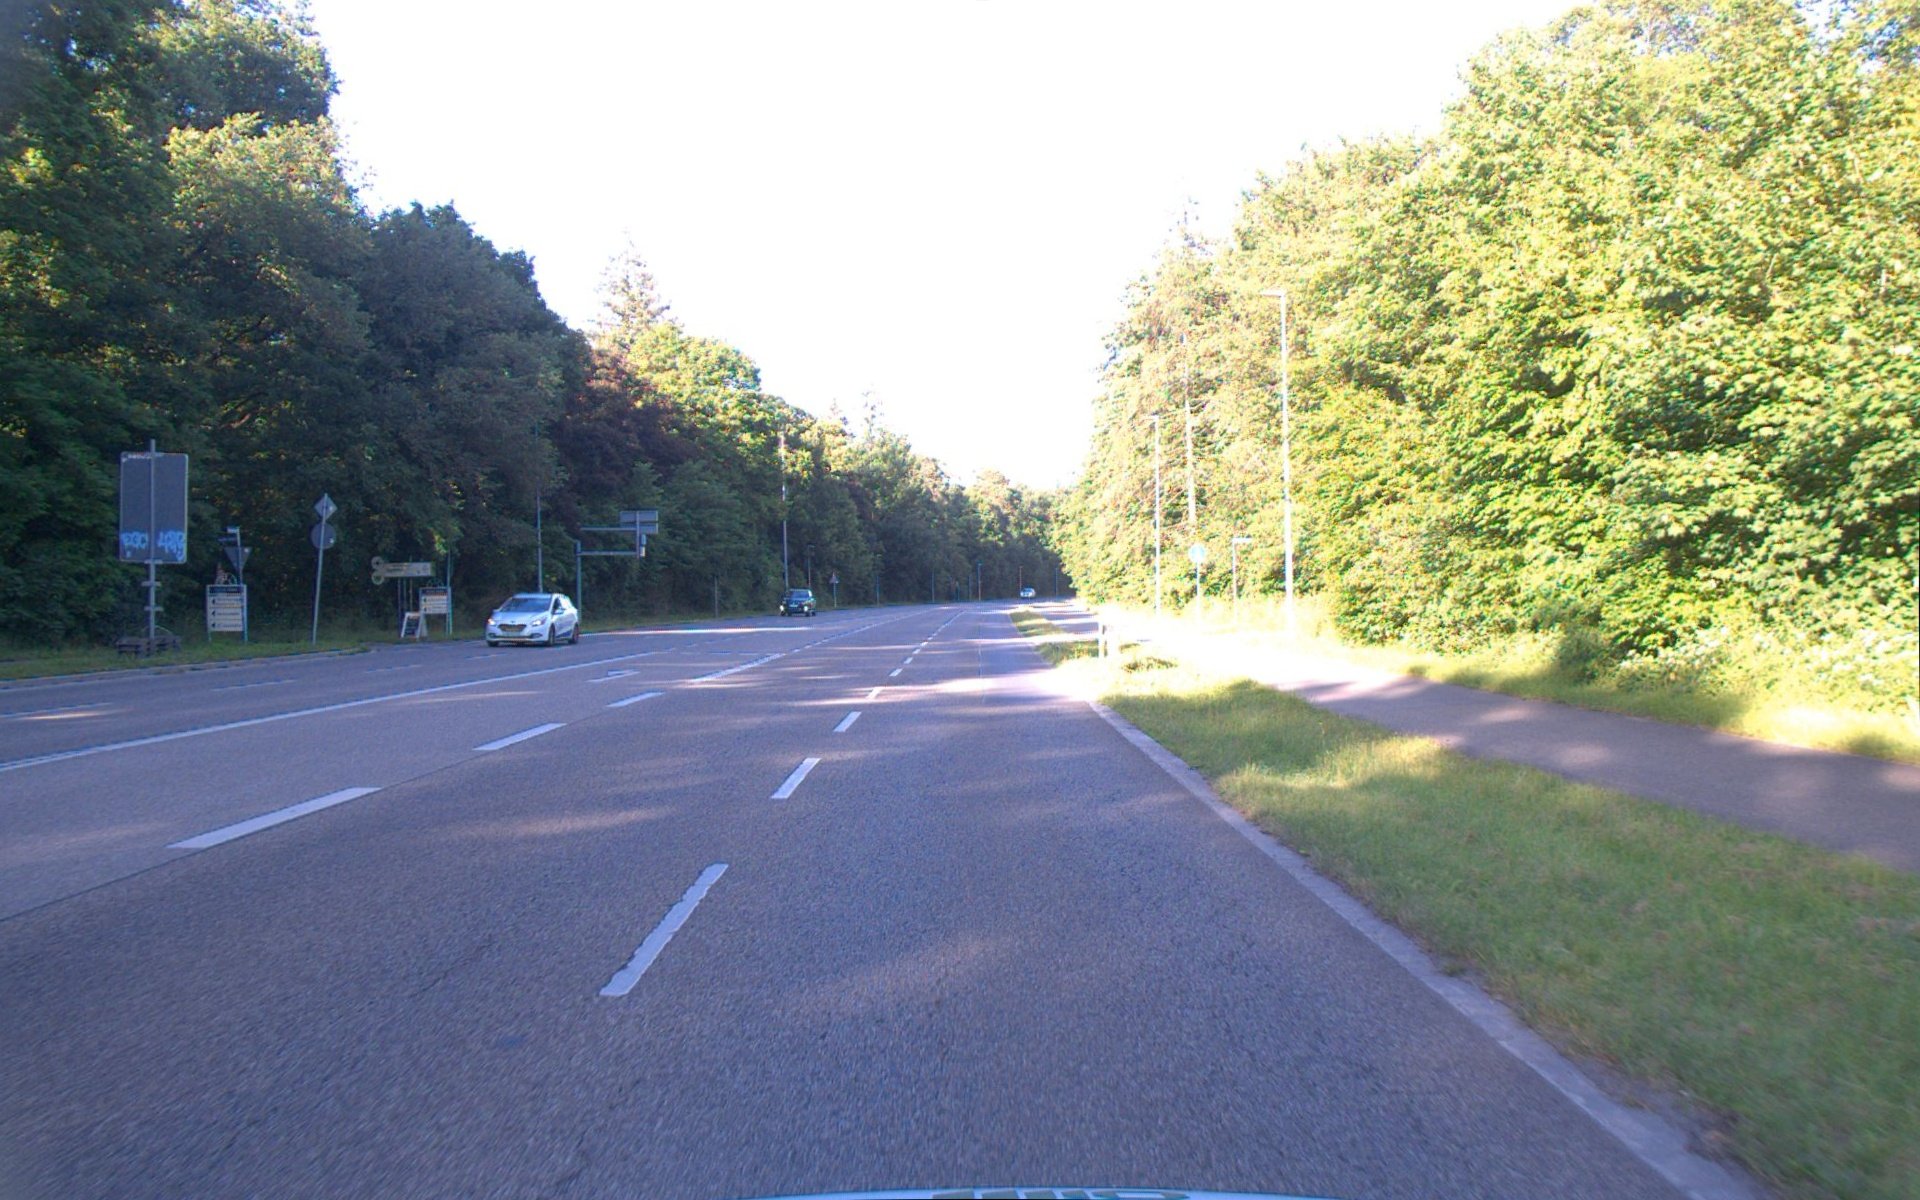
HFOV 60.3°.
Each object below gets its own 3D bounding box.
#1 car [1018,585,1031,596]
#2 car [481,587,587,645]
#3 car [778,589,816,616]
[{"bbox_3d":[10.106,-1.520,259.261,1.868,1.693,4.735,0,0,1],"label":"car"},{"bbox_3d":[-11.946,0.415,46.599,1.787,1.530,4.307,0,0,1],"label":"car"},{"bbox_3d":[-9.986,0.144,101.720,1.787,1.617,4.352,0,0,1],"label":"car"}]
